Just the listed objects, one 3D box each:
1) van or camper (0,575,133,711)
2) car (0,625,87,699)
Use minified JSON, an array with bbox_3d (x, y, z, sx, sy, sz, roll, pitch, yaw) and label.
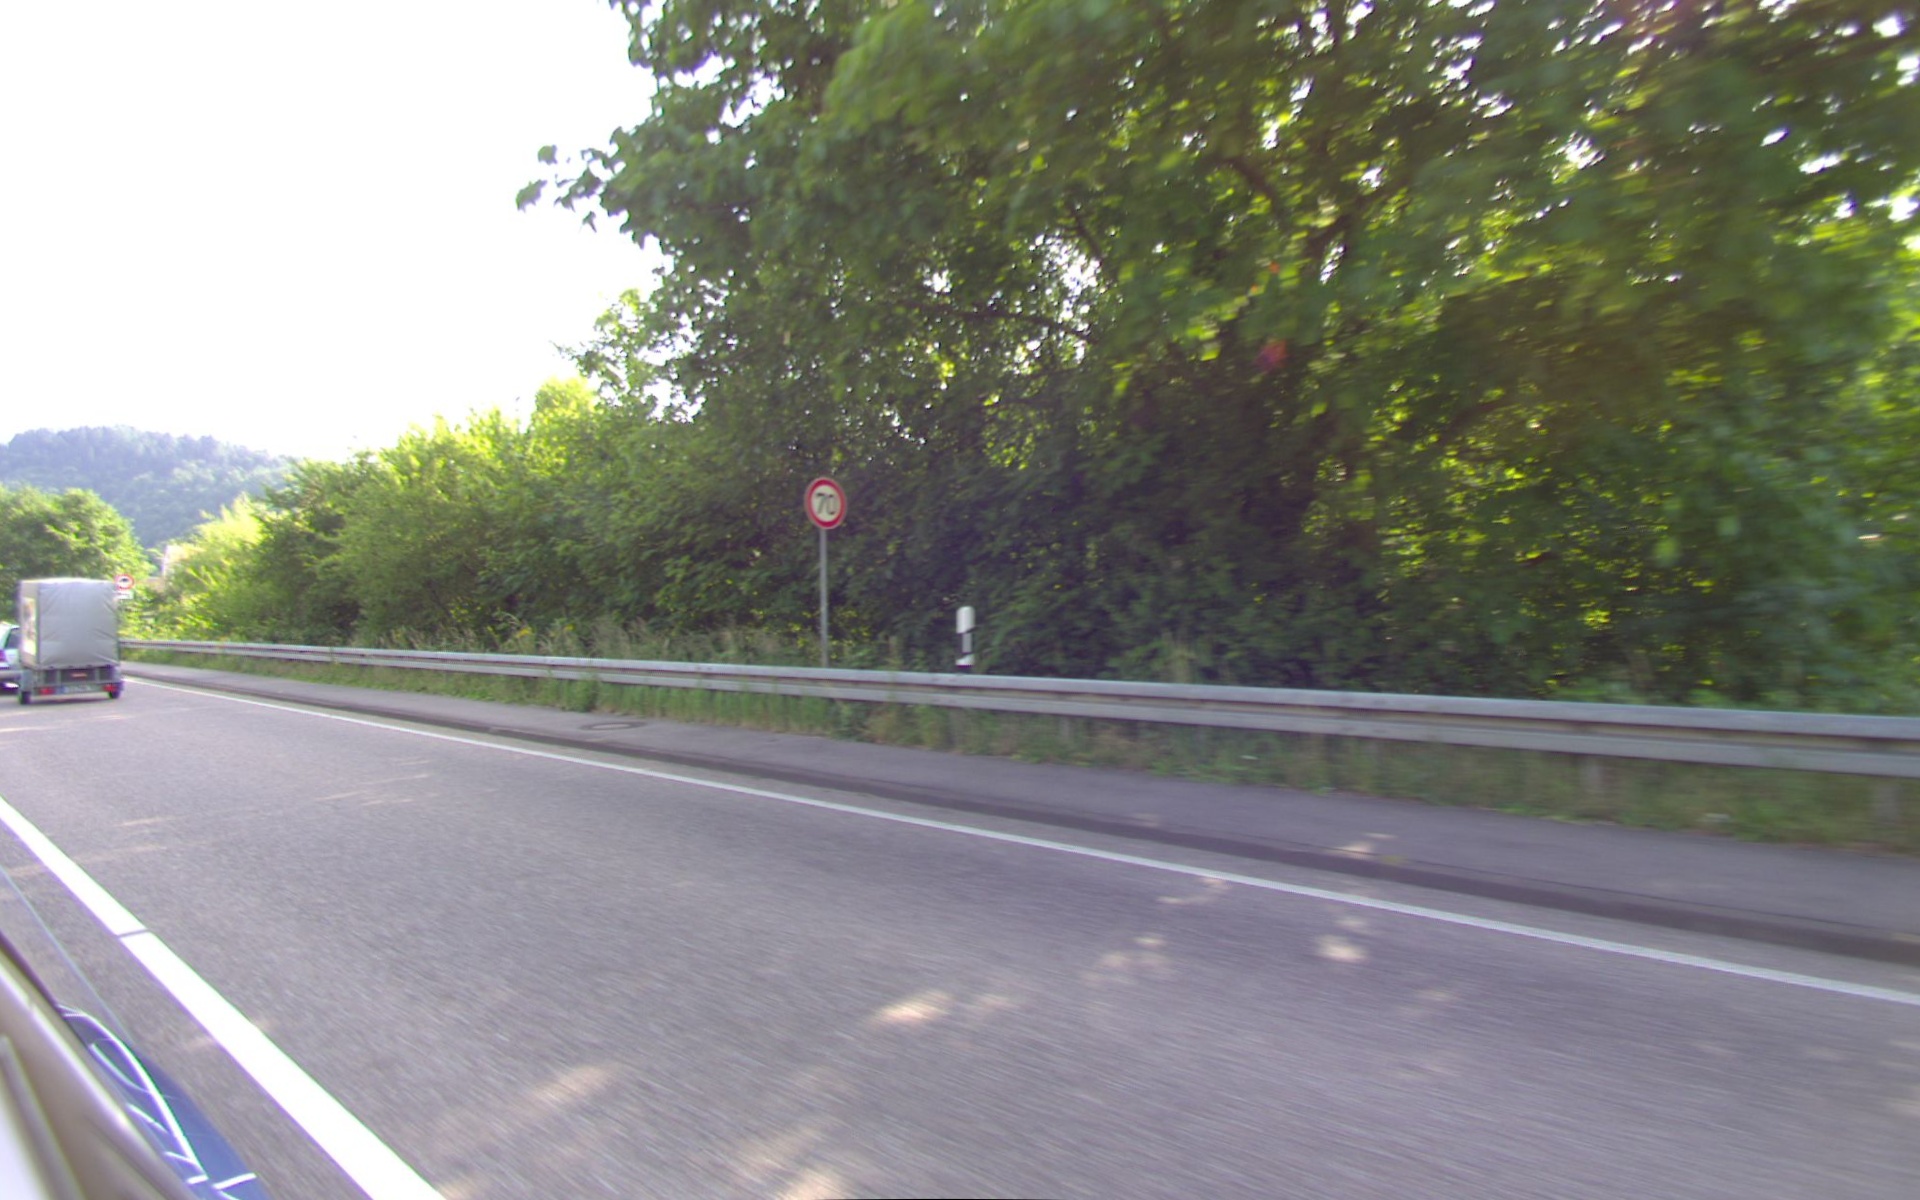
[{"bbox_3d":[-17.332,0.777,19.390,4.056,2.346,1.586,-2,-1,41],"label":"van or camper"},{"bbox_3d":[-20.655,1.310,22.164,4.602,1.447,1.631,-2,-1,40],"label":"car"}]
